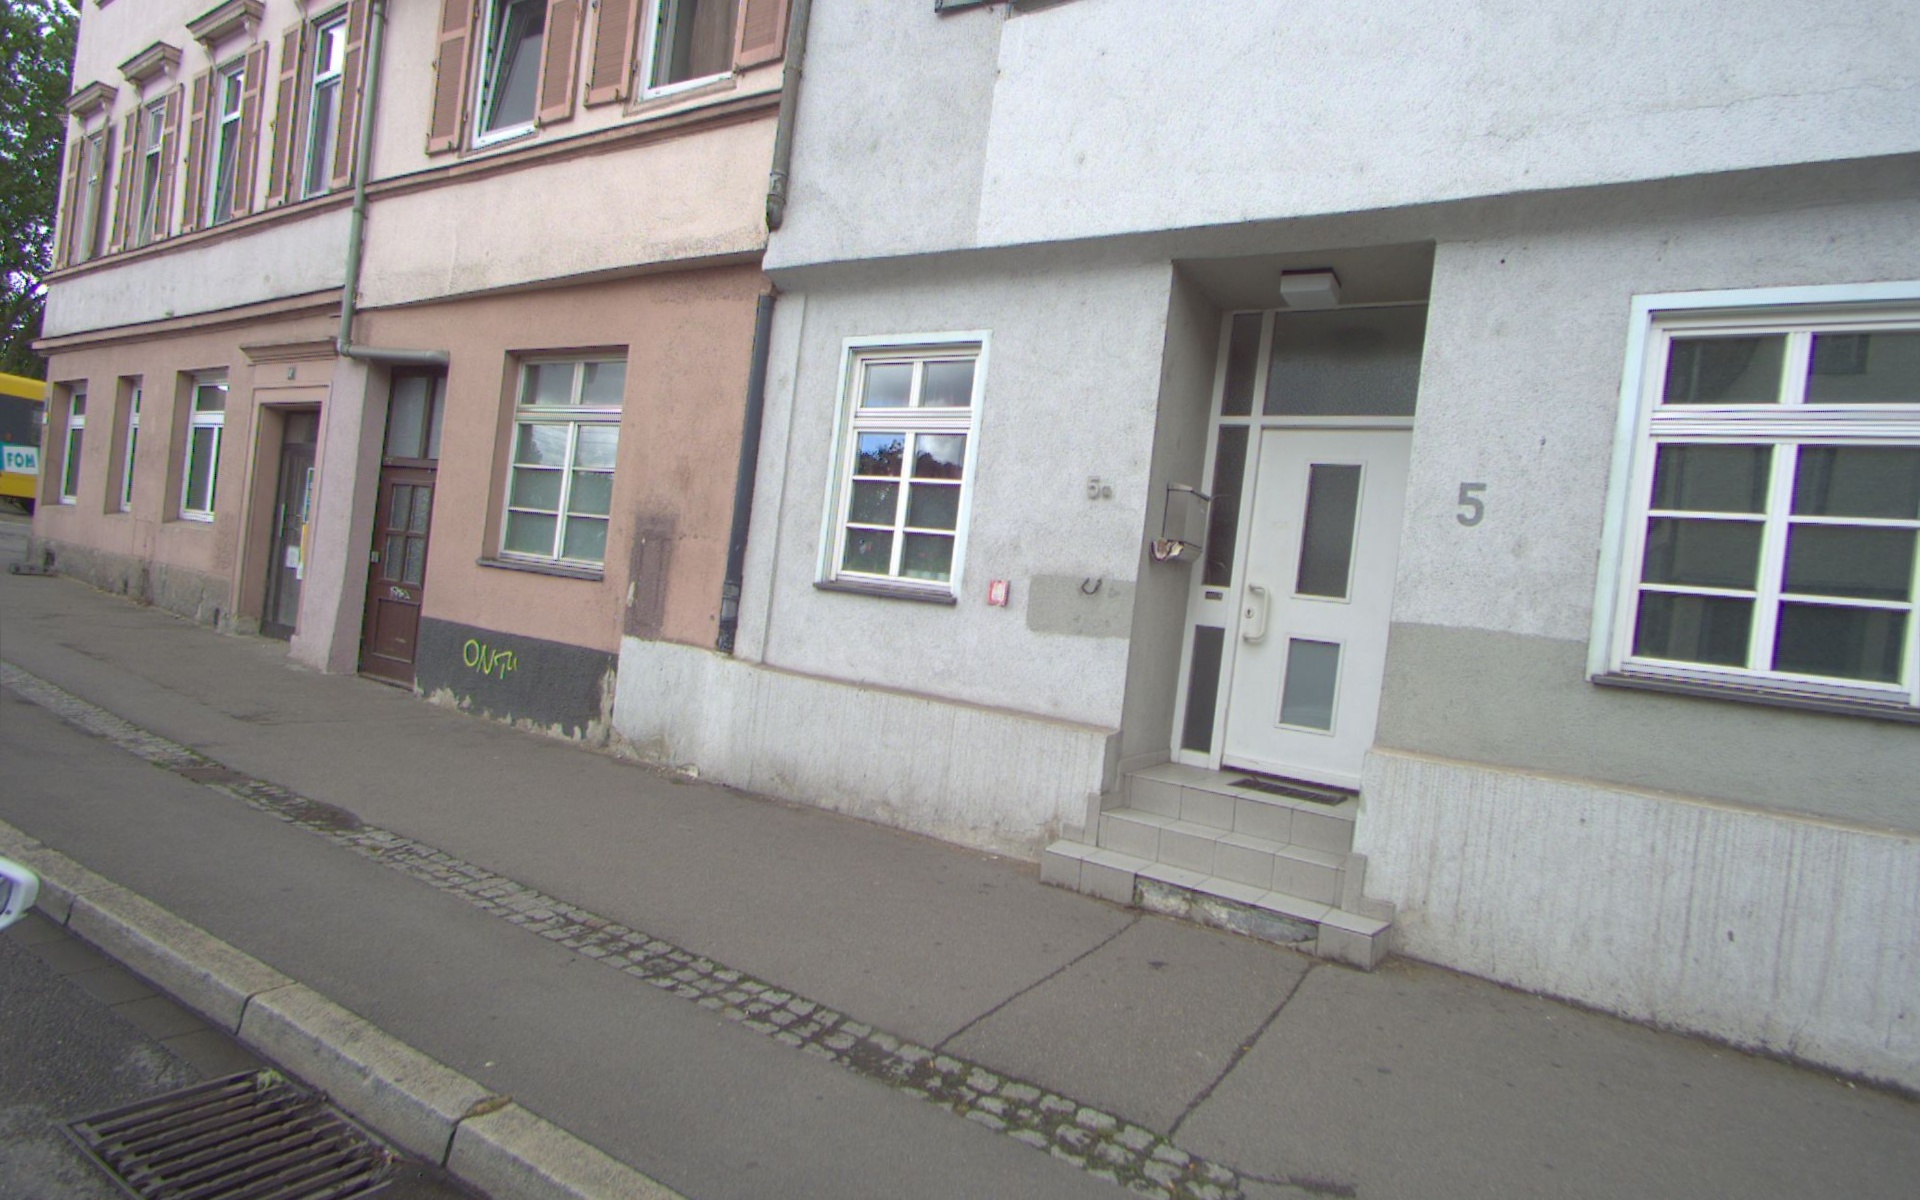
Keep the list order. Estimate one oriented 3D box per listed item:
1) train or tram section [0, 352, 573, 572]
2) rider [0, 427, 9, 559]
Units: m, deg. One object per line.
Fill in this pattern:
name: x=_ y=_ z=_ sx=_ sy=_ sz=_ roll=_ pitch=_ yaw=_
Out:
train or tram section: x=-21.714 y=-3.918 z=33.778 sx=3.207 sy=4.053 sz=18.812 roll=10 pitch=1 yaw=26
rider: x=-14.155 y=-1.571 z=14.260 sx=0.784 sy=1.872 sz=0.718 roll=7 pitch=3 yaw=31
